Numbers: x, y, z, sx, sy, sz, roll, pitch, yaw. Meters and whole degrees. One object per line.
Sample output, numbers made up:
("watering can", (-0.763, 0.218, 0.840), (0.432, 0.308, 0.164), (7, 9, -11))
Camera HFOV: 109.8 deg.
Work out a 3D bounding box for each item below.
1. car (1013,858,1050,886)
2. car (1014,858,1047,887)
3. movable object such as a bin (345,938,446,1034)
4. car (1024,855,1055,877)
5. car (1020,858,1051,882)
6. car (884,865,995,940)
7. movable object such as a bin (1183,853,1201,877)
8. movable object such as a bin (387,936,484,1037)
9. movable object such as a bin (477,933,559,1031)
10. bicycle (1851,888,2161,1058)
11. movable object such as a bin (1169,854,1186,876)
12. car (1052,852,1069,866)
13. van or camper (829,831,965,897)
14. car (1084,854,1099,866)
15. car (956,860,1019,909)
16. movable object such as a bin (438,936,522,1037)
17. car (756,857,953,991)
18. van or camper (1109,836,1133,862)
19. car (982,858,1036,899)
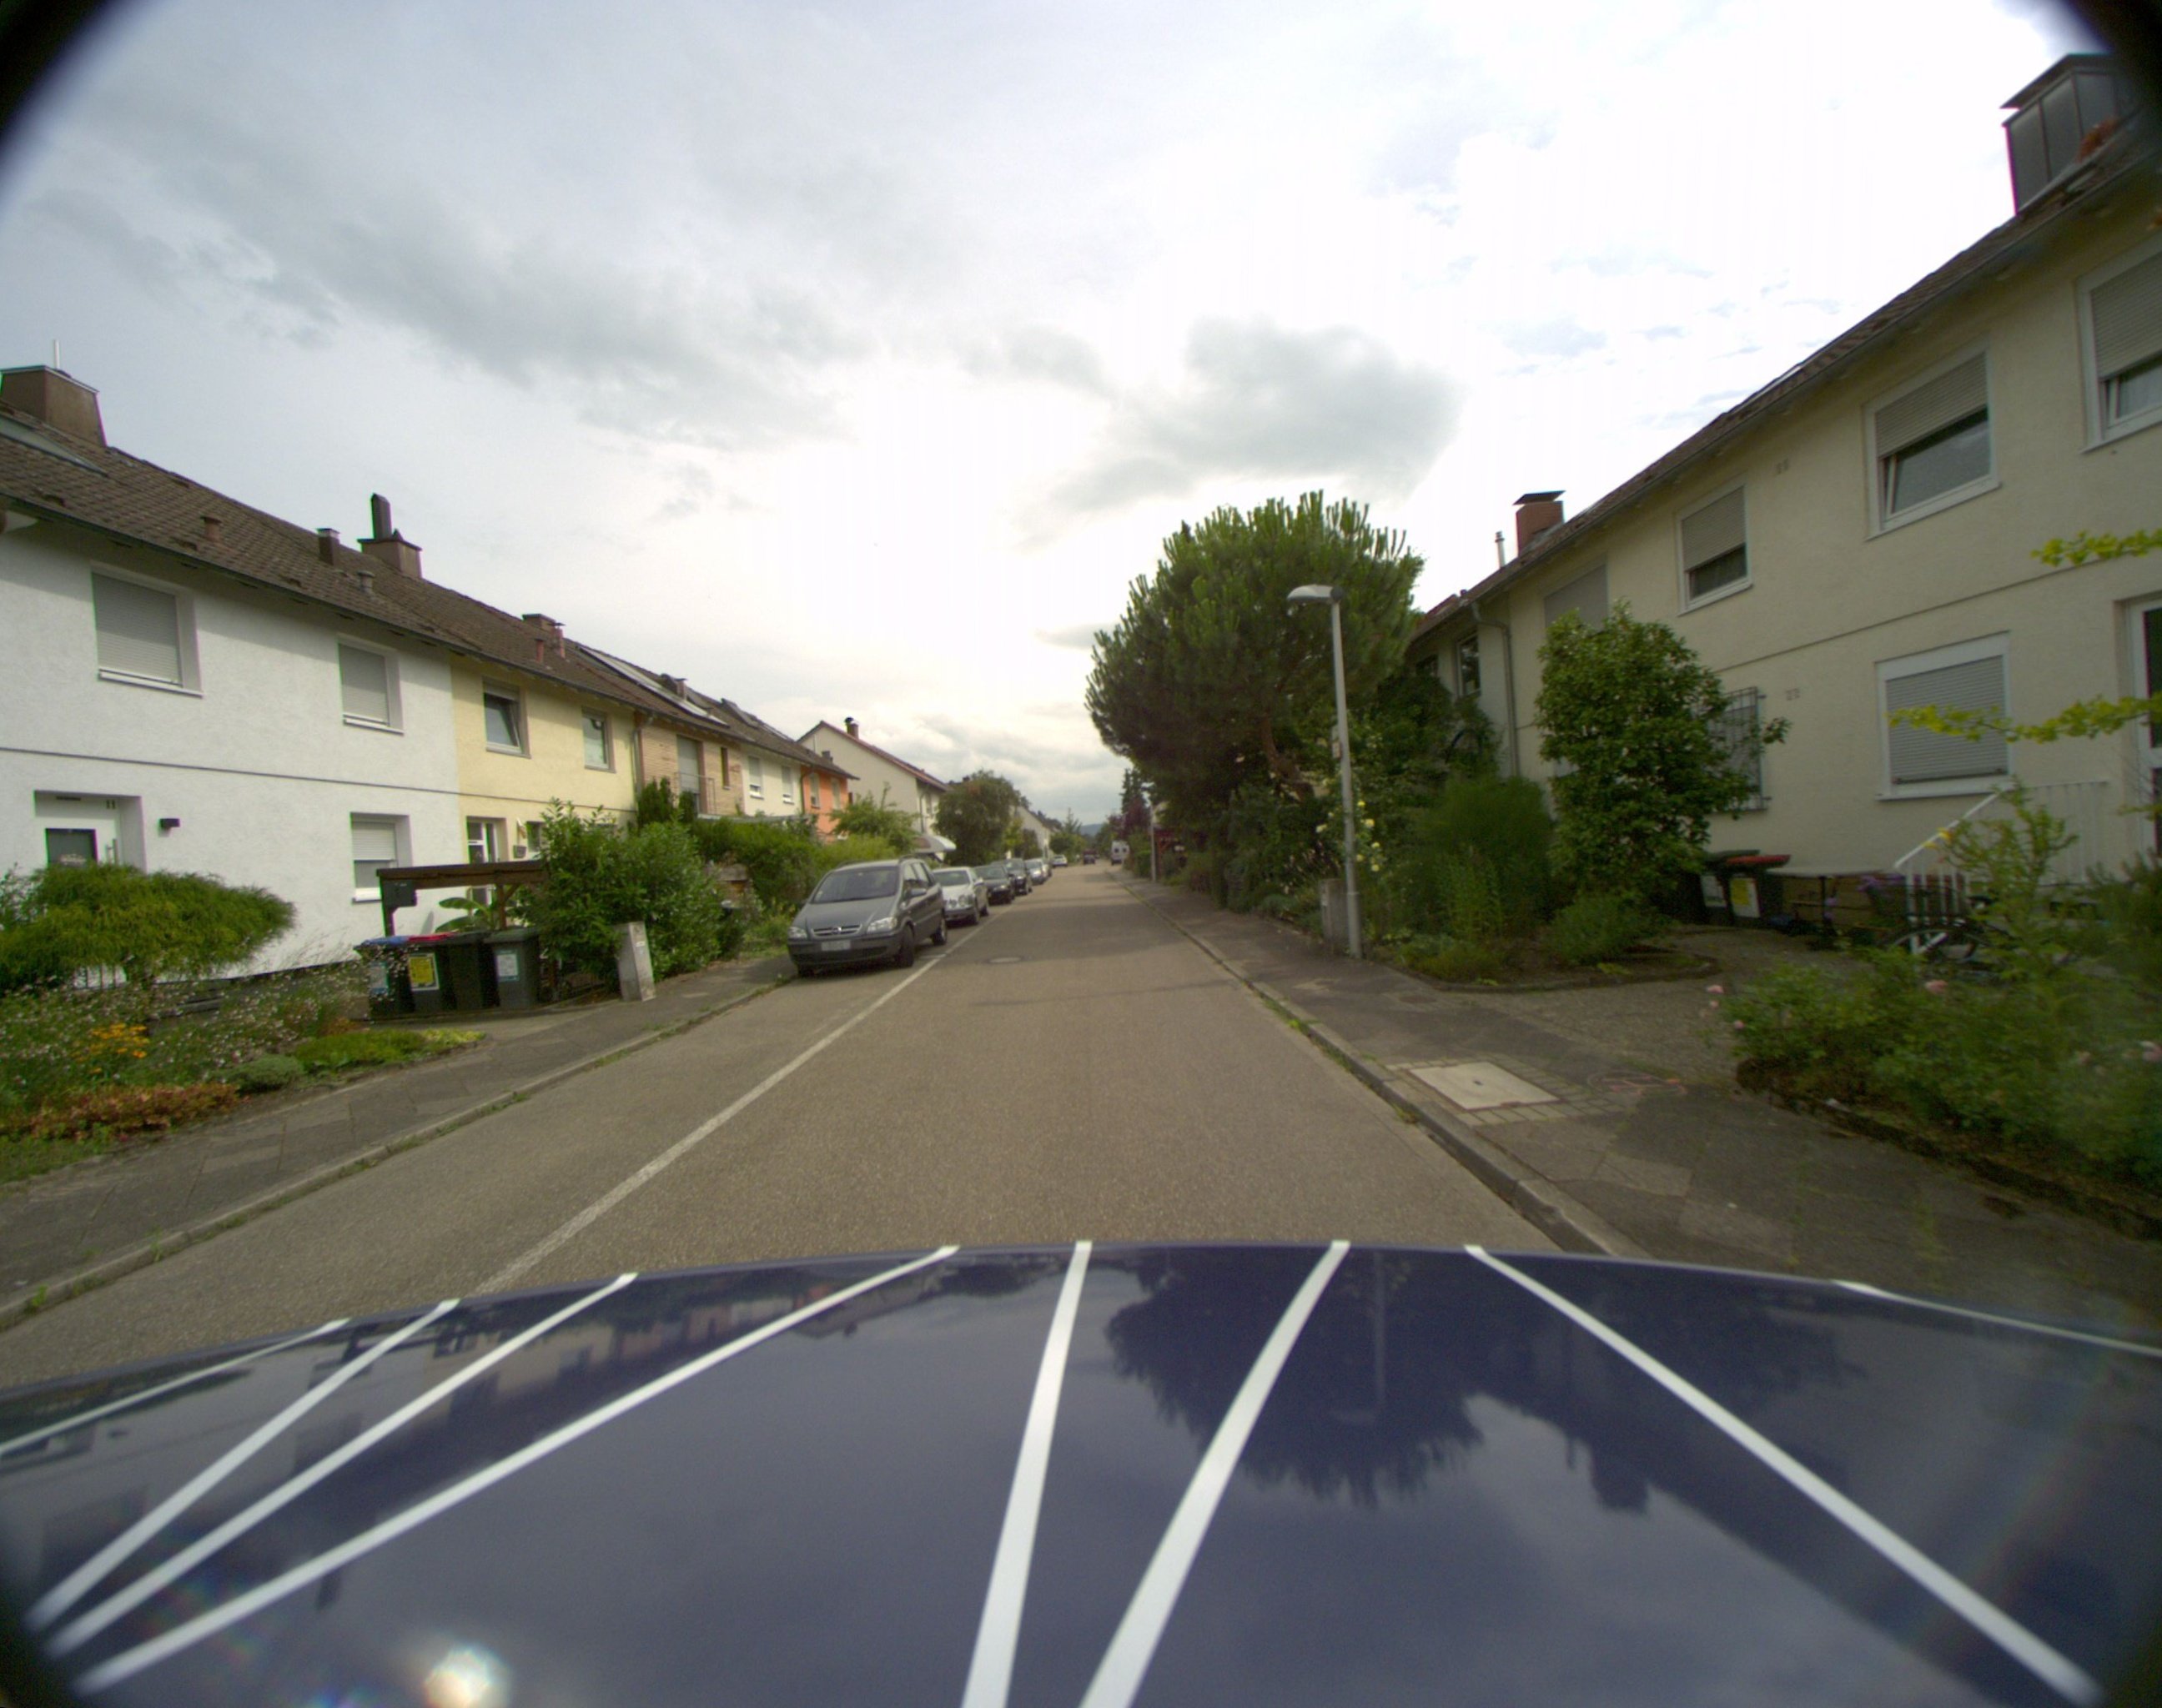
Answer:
("car", (-2.871, 1.039, 44.863), (1.746, 1.462, 4.217), (-4, 0, 1))
("car", (-2.924, 1.031, 44.652), (1.708, 1.434, 4.219), (-5, 0, -2))
("movable object such as a bin", (-8.258, 1.562, 9.183), (0.426, 0.982, 0.887), (-3, 0, -7))
("car", (-3.025, 0.863, 56.934), (1.872, 1.431, 4.850), (-4, 0, 1))
("car", (-2.976, 1.005, 50.246), (1.697, 1.357, 4.697), (-4, 0, 0))
("car", (-3.321, 1.082, 18.808), (1.872, 1.399, 4.766), (-5, 0, -2))
("movable object such as a bin", (5.458, 0.544, 37.502), (0.705, 1.123, 0.877), (-3, 1, 0))
("movable object such as a bin", (-7.782, 1.574, 9.194), (0.418, 1.045, 0.887), (-3, 1, -6))
("movable object such as a bin", (-6.801, 1.524, 9.206), (0.405, 1.027, 0.790), (-4, 0, -8))
("bicycle", (5.823, 0.672, 4.503), (1.698, 0.887, 0.530), (-4, 0, 42))
("movable object such as a bin", (4.748, 0.532, 37.485), (0.705, 1.065, 0.822), (-3, 1, 0))
("car", (-2.629, 0.618, 97.462), (1.999, 1.590, 3.999), (-4, 0, -3))
("van or camper", (-8.941, 0.464, 37.344), (5.811, 2.801, 2.537), (-3, 0, 5))
("car", (1.657, 0.877, 116.374), (1.998, 1.696, 4.001), (-4, 0, 4))
("car", (-3.185, 1.010, 26.673), (1.737, 1.419, 4.125), (-4, 0, -2))
("movable object such as a bin", (-7.263, 1.576, 9.213), (0.371, 1.060, 0.851), (-3, 1, -8))
("car", (-3.388, 0.943, 12.366), (1.872, 1.644, 4.463), (-4, 0, -2))
("van or camper", (4.596, -0.554, 87.773), (2.346, 2.719, 5.747), (-4, 0, 1))
("car", (-2.980, 0.967, 32.329), (1.753, 1.458, 4.647), (-4, 0, 0))
